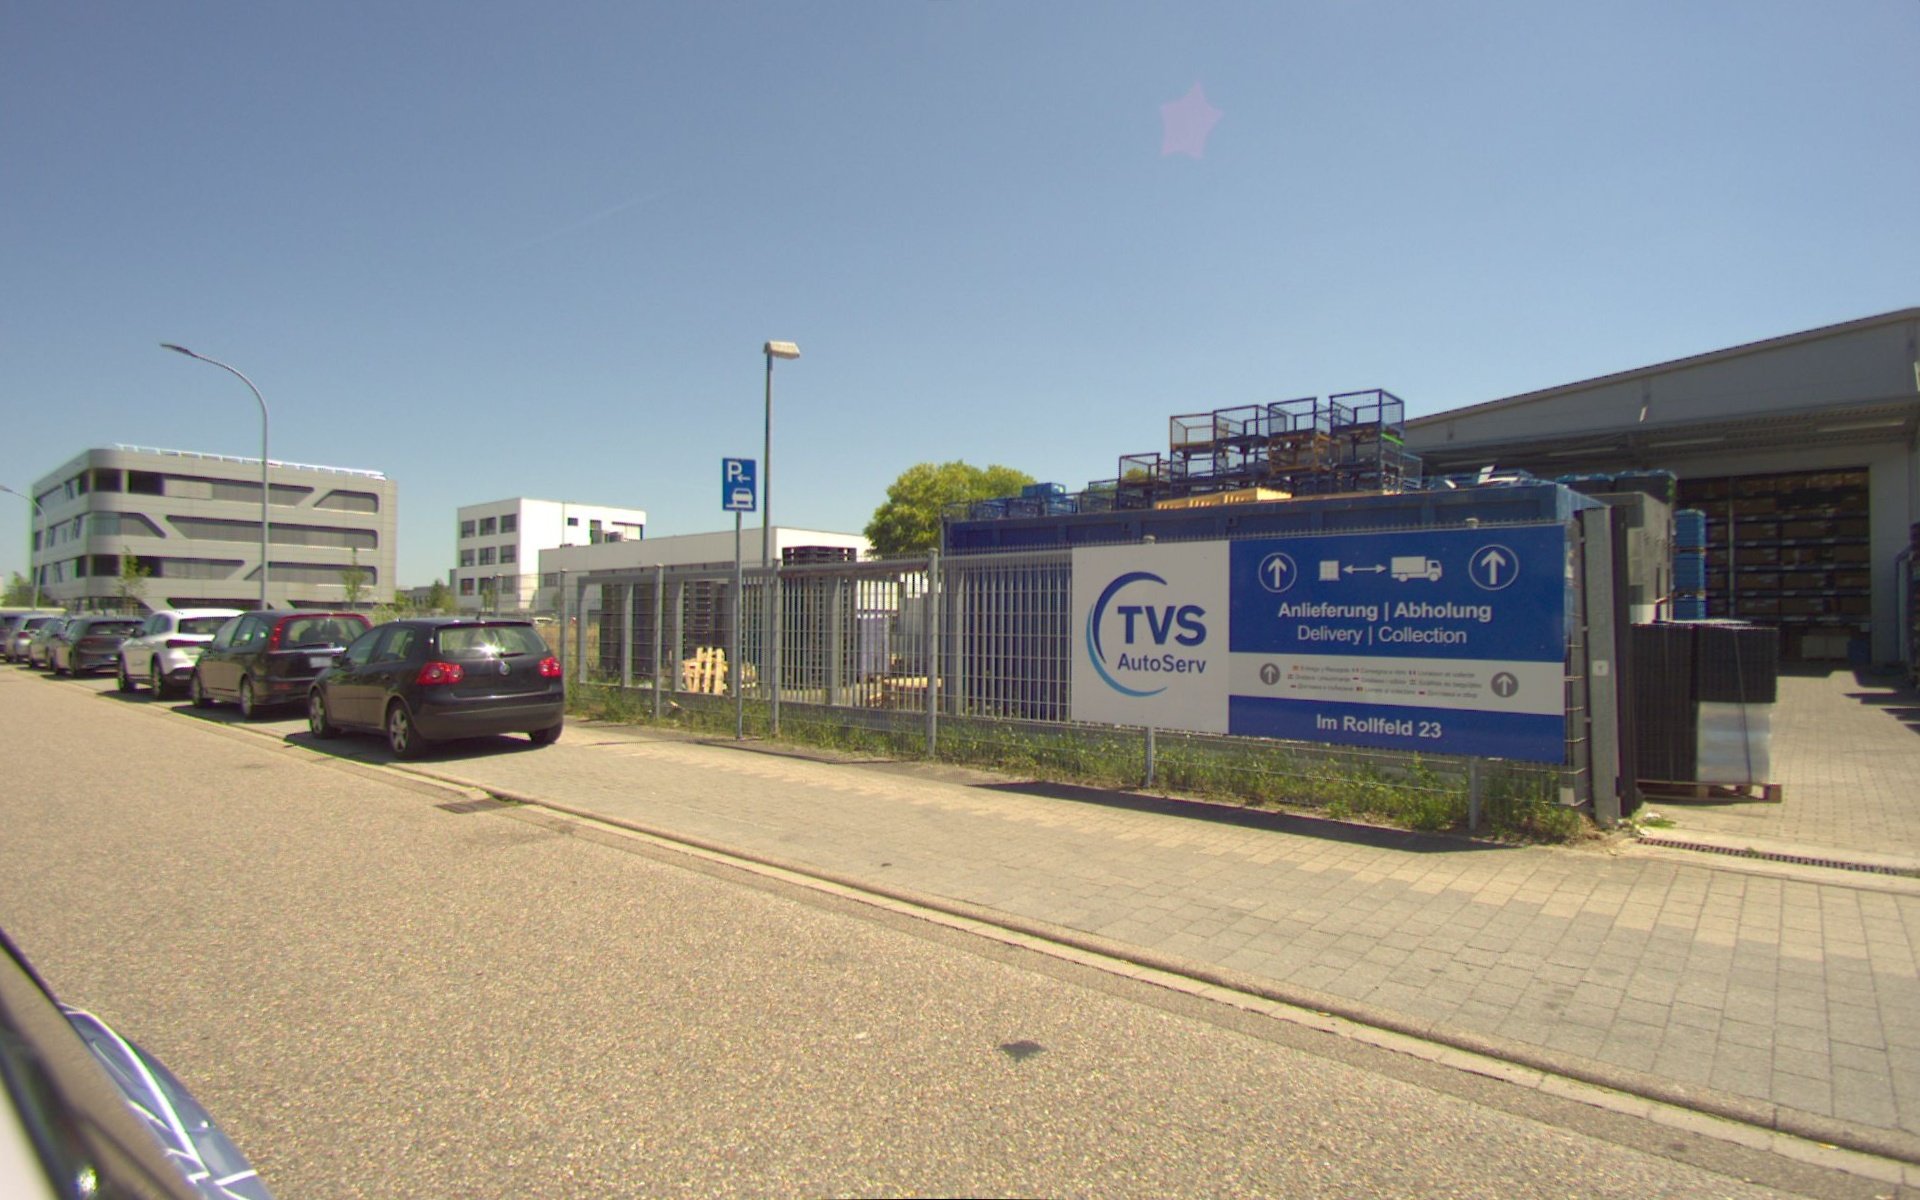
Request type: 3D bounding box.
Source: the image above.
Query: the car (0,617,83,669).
[{"bbox_3d":[-29.281,1.312,32.107,3.732,1.537,1.676,-1,-1,40],"label":"car"}]

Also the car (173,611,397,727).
[{"bbox_3d":[-10.694,0.970,15.913,4.497,1.568,1.751,-1,-1,40],"label":"car"}]

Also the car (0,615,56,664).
[{"bbox_3d":[-33.355,1.348,35.543,4.459,1.619,1.772,-1,-1,40],"label":"car"}]

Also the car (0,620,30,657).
[{"bbox_3d":[-39.727,1.559,41.448,4.195,1.462,1.746,-1,-1,38],"label":"car"}]

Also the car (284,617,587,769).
[{"bbox_3d":[-6.359,0.953,12.054,4.331,1.472,1.750,-1,-1,41],"label":"car"}]

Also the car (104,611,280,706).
[{"bbox_3d":[-14.637,1.020,19.198,4.356,1.604,1.751,-1,-1,40],"label":"car"}]

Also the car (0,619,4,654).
[{"bbox_3d":[-43.702,1.605,44.689,4.377,1.529,1.745,-1,-1,41],"label":"car"}]

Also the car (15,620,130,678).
[{"bbox_3d":[-25.214,1.329,28.701,4.812,1.492,1.757,-1,-1,40],"label":"car"}]

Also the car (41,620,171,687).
[{"bbox_3d":[-21.216,1.259,25.091,4.227,1.492,1.838,-1,-1,41],"label":"car"}]

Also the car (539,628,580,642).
[{"bbox_3d":[-44.960,3.961,113.687,1.917,1.597,3.954,-1,-3,34],"label":"car"}]
